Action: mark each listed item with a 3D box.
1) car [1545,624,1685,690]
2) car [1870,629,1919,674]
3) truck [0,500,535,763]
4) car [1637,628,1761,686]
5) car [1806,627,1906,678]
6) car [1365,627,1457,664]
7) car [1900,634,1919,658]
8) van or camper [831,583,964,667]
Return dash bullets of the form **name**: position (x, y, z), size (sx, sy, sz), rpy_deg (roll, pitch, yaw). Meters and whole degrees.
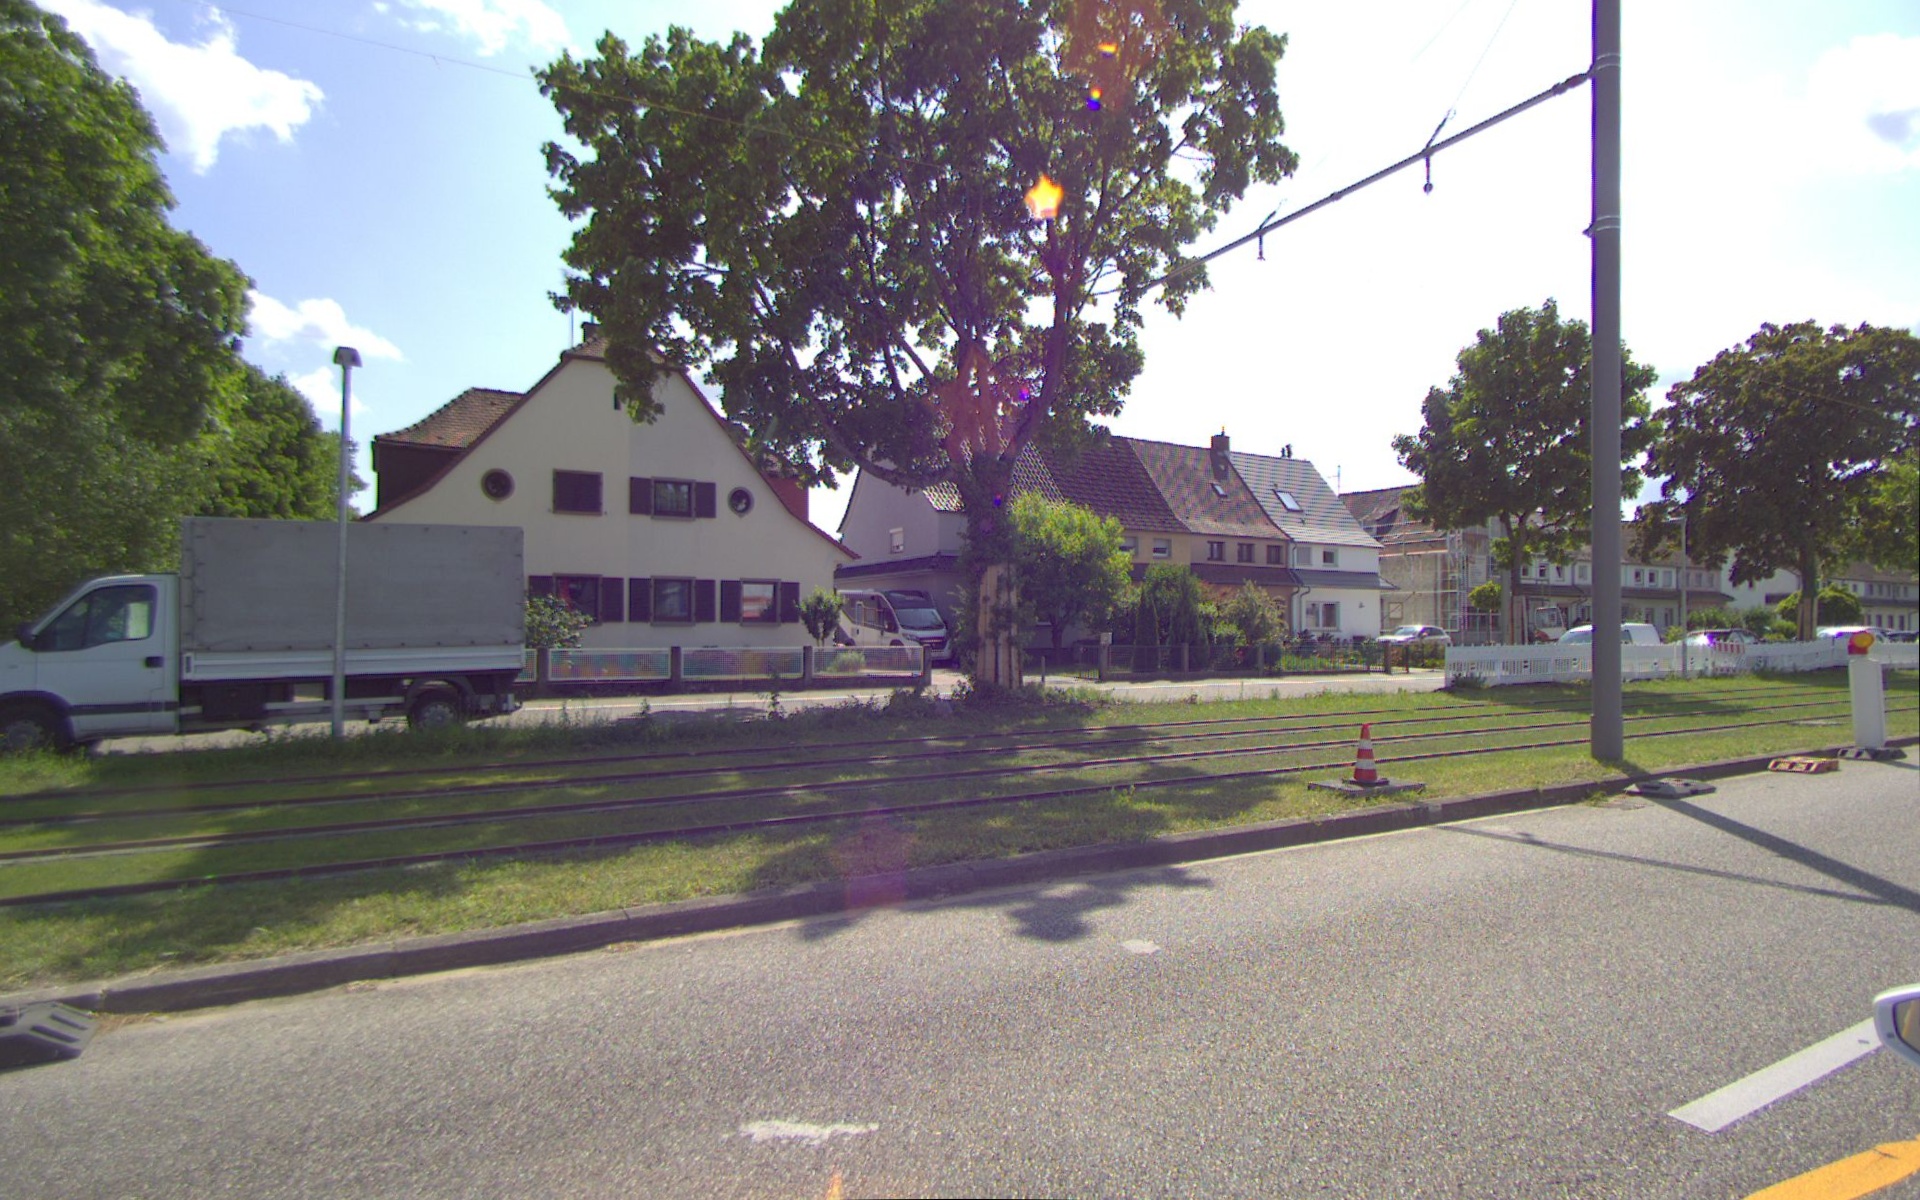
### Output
- **car**: position (19.591, 1.642, 30.013), size (4.312, 1.845, 1.768), rpy_deg (1, -2, -30)
- **car**: position (40.659, 2.165, 42.696), size (4.079, 1.829, 1.768), rpy_deg (1, -2, -30)
- **truck**: position (-8.822, 0.399, 12.973), size (5.906, 2.817, 2.255), rpy_deg (1, -2, -31)
- **car**: position (24.304, 1.825, 33.001), size (4.177, 1.797, 1.768), rpy_deg (1, -2, -30)
- **car**: position (35.375, 2.031, 39.639), size (4.079, 1.892, 1.768), rpy_deg (1, -2, -30)
- **car**: position (20.004, 1.989, 44.496), size (3.952, 1.539, 1.768), rpy_deg (1, -2, -30)
- **car**: position (70.046, 3.308, 72.744), size (4.079, 1.745, 1.768), rpy_deg (1, -2, -30)
- **van or camper**: position (-2.401, 0.935, 36.628), size (2.269, 2.801, 6.051), rpy_deg (1, -2, -32)
